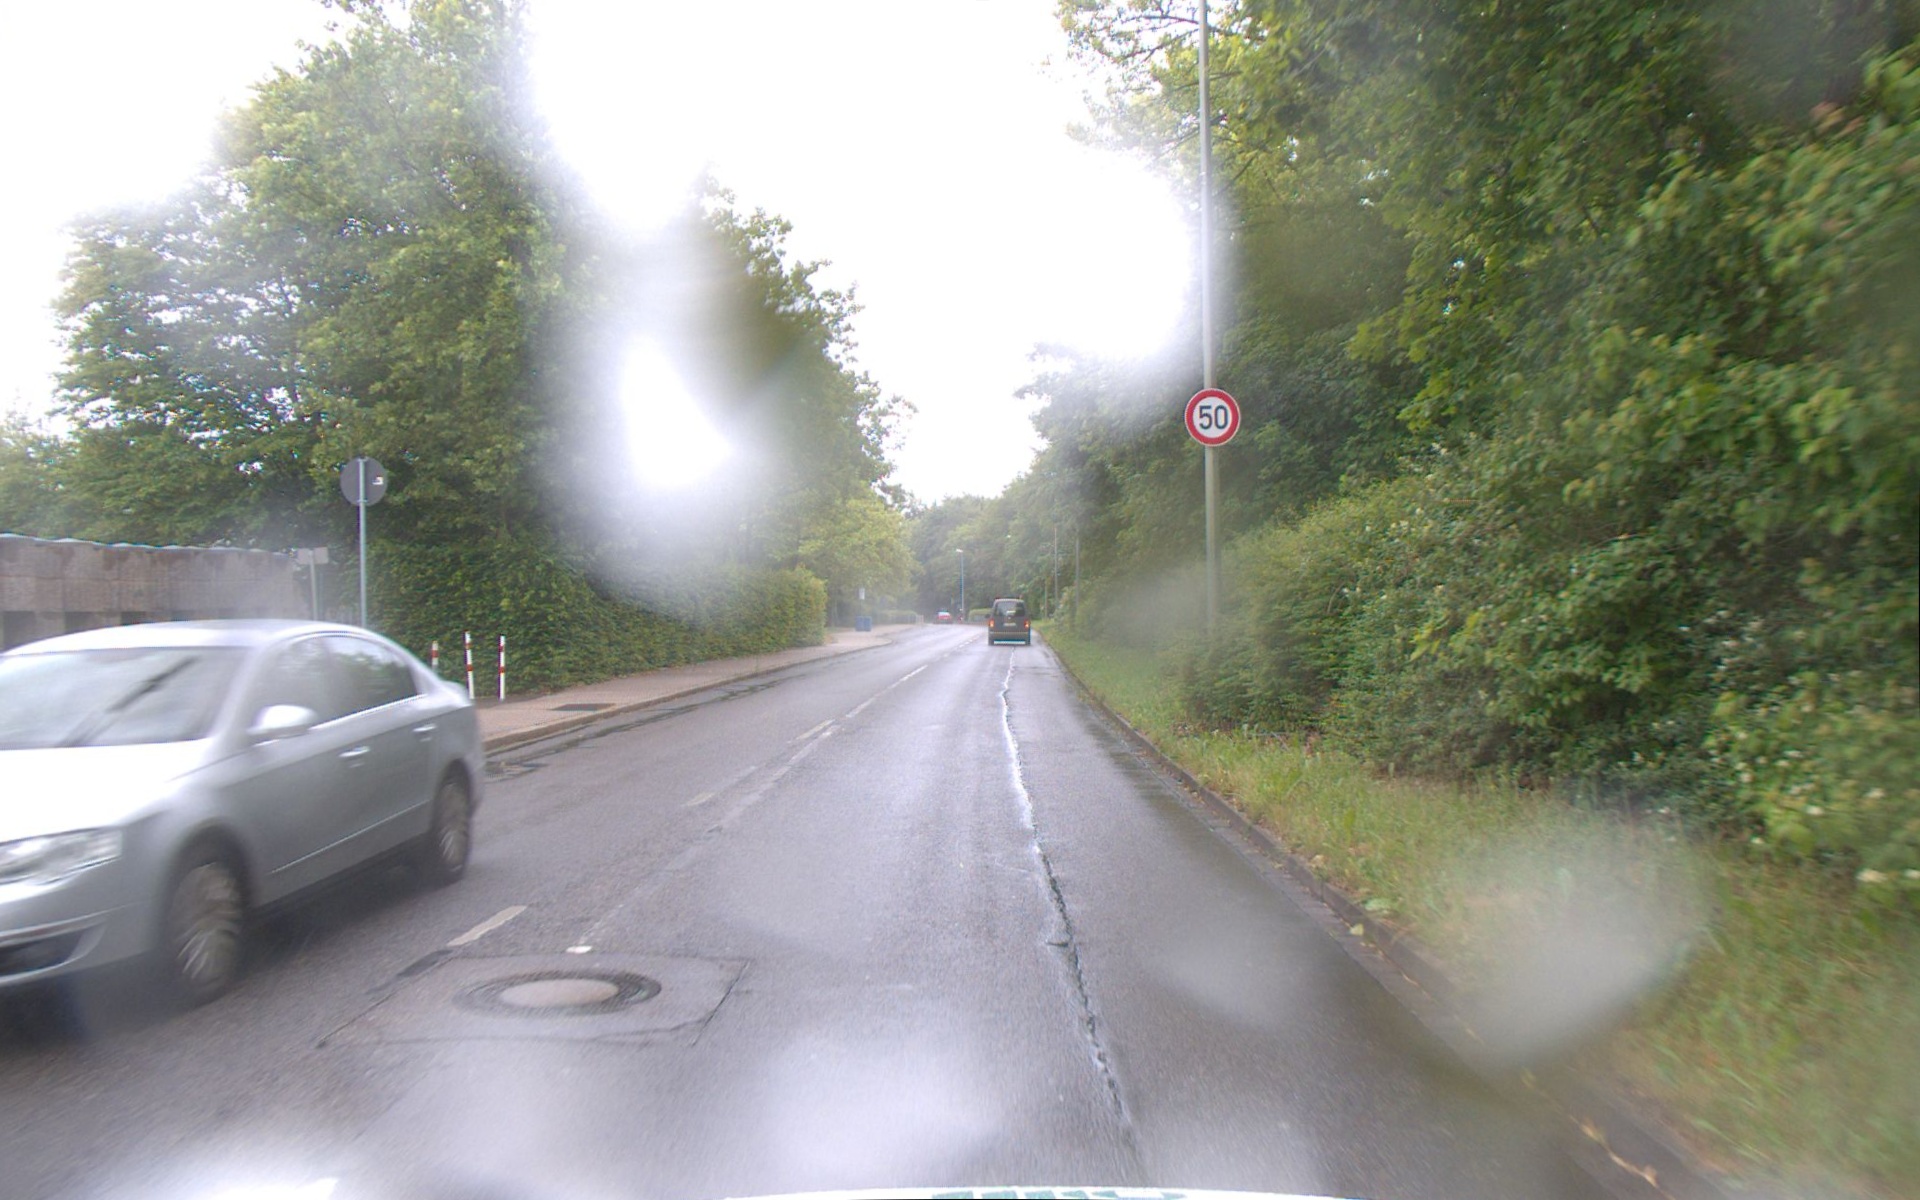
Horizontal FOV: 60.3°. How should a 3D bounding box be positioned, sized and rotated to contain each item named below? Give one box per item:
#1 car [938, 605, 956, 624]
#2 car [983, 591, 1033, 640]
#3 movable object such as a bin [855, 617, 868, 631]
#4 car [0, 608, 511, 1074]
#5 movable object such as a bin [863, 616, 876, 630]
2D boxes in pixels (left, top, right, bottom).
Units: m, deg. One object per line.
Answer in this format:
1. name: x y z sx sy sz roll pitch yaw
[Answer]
1. car: -1.494 1.666 189.370 1.953 2.049 4.000 2 0 0
2. car: 1.936 0.602 67.922 1.952 1.825 4.001 2 1 1
3. movable object such as a bin: -7.356 1.779 123.380 0.659 1.044 0.827 -2 0 -29
4. car: -3.697 0.825 7.592 1.953 1.445 4.486 -2 0 1
5. movable object such as a bin: -6.774 1.737 123.773 0.659 1.044 0.827 -2 0 -29
